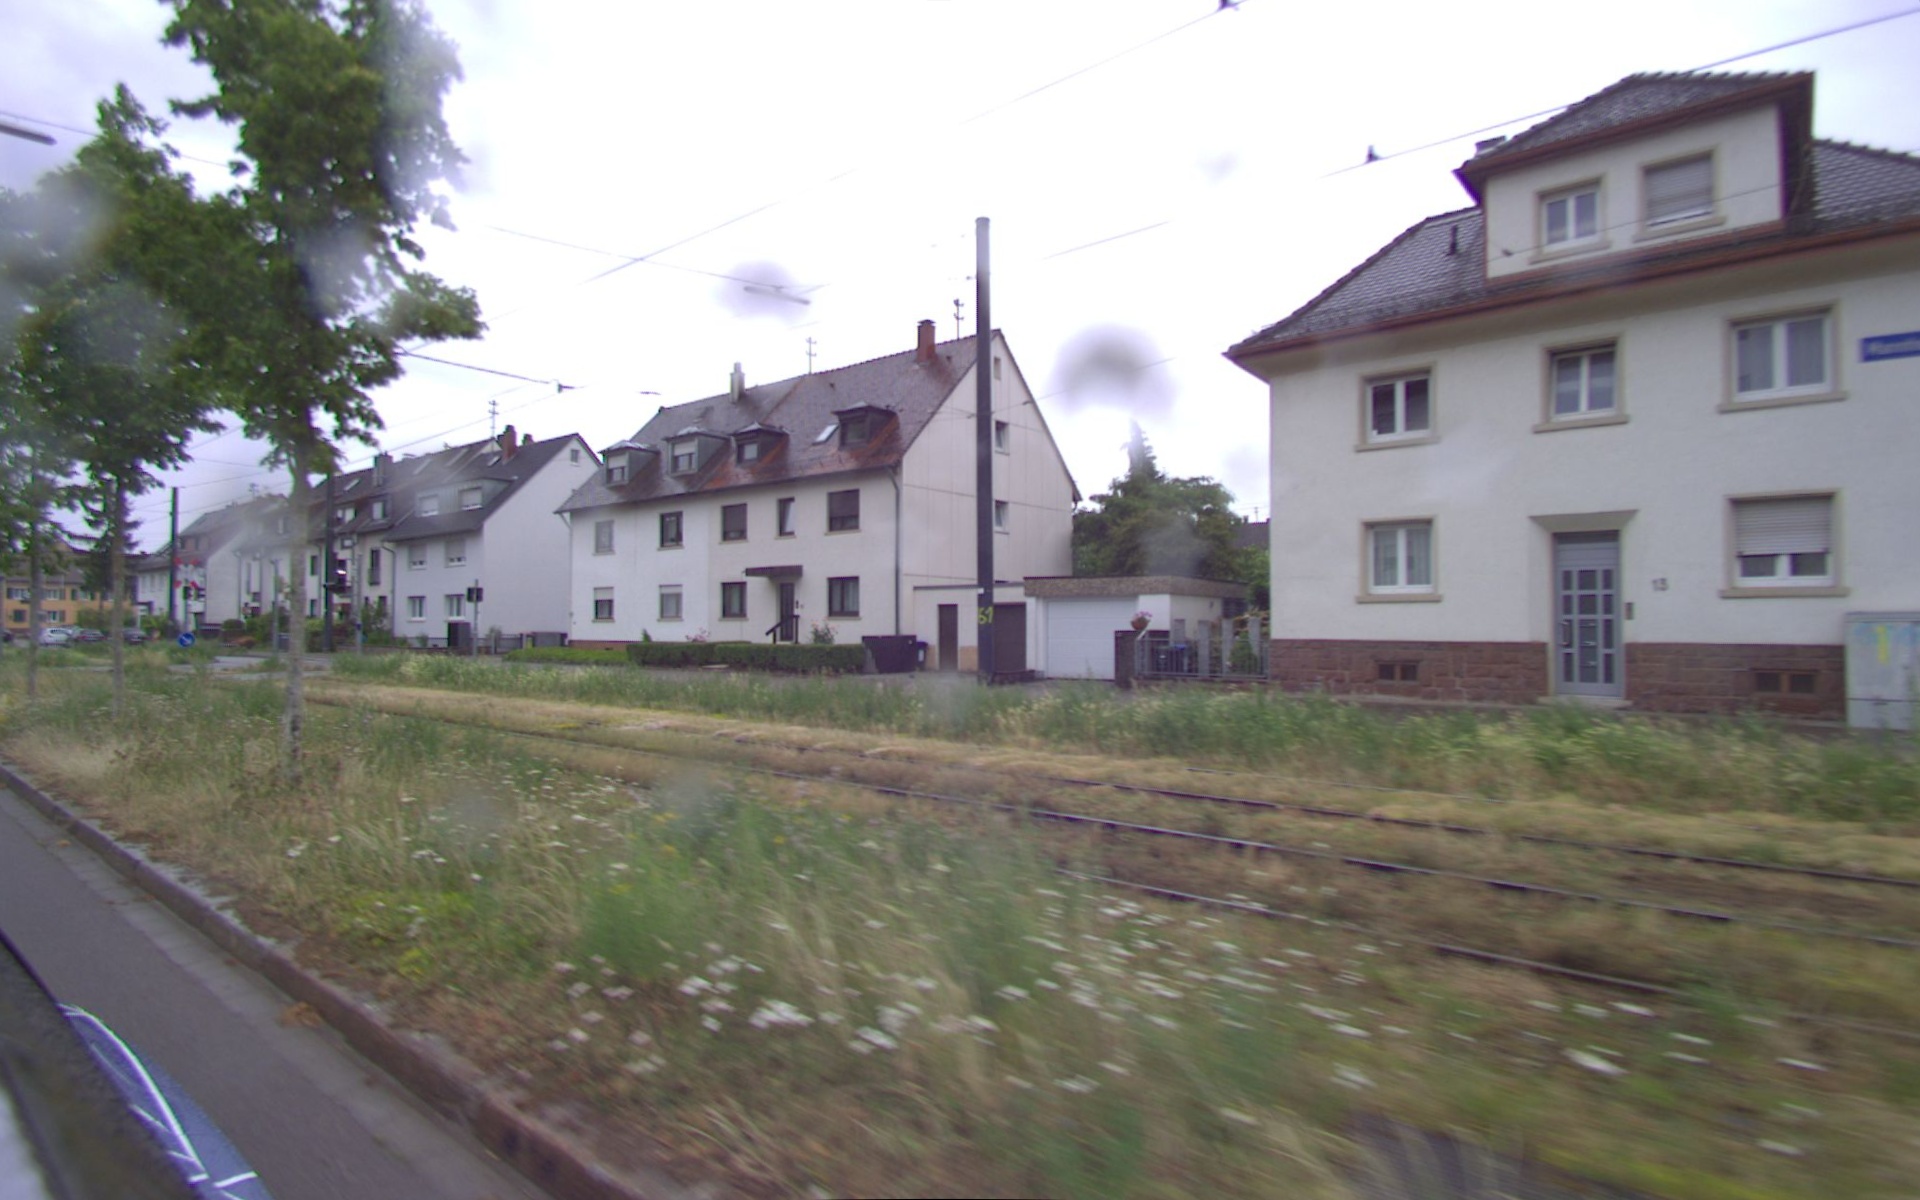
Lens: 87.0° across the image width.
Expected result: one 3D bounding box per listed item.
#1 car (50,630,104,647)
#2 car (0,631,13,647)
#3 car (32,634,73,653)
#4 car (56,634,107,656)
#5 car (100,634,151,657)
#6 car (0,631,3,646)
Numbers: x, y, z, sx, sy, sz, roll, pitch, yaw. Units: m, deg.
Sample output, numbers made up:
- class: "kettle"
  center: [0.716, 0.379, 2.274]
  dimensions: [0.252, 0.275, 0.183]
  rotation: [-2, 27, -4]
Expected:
- class: "car"
  center: [-89.277, 3.844, 102.337]
  dimensions: [1.912, 1.607, 3.945]
  rotation: [-2, -2, 41]
- class: "car"
  center: [-93.255, 3.768, 97.897]
  dimensions: [3.996, 1.602, 1.888]
  rotation: [-2, -3, 39]
- class: "car"
  center: [-71.945, 3.413, 80.222]
  dimensions: [3.995, 1.451, 1.694]
  rotation: [-2, -4, 39]
- class: "car"
  center: [-63.401, 3.242, 73.024]
  dimensions: [4.750, 1.543, 1.868]
  rotation: [-2, -4, 39]
- class: "car"
  center: [-53.642, 2.925, 65.033]
  dimensions: [3.934, 1.437, 1.755]
  rotation: [-2, -4, 40]
- class: "car"
  center: [-96.931, 3.825, 100.788]
  dimensions: [3.996, 1.541, 1.858]
  rotation: [-2, -3, 39]
